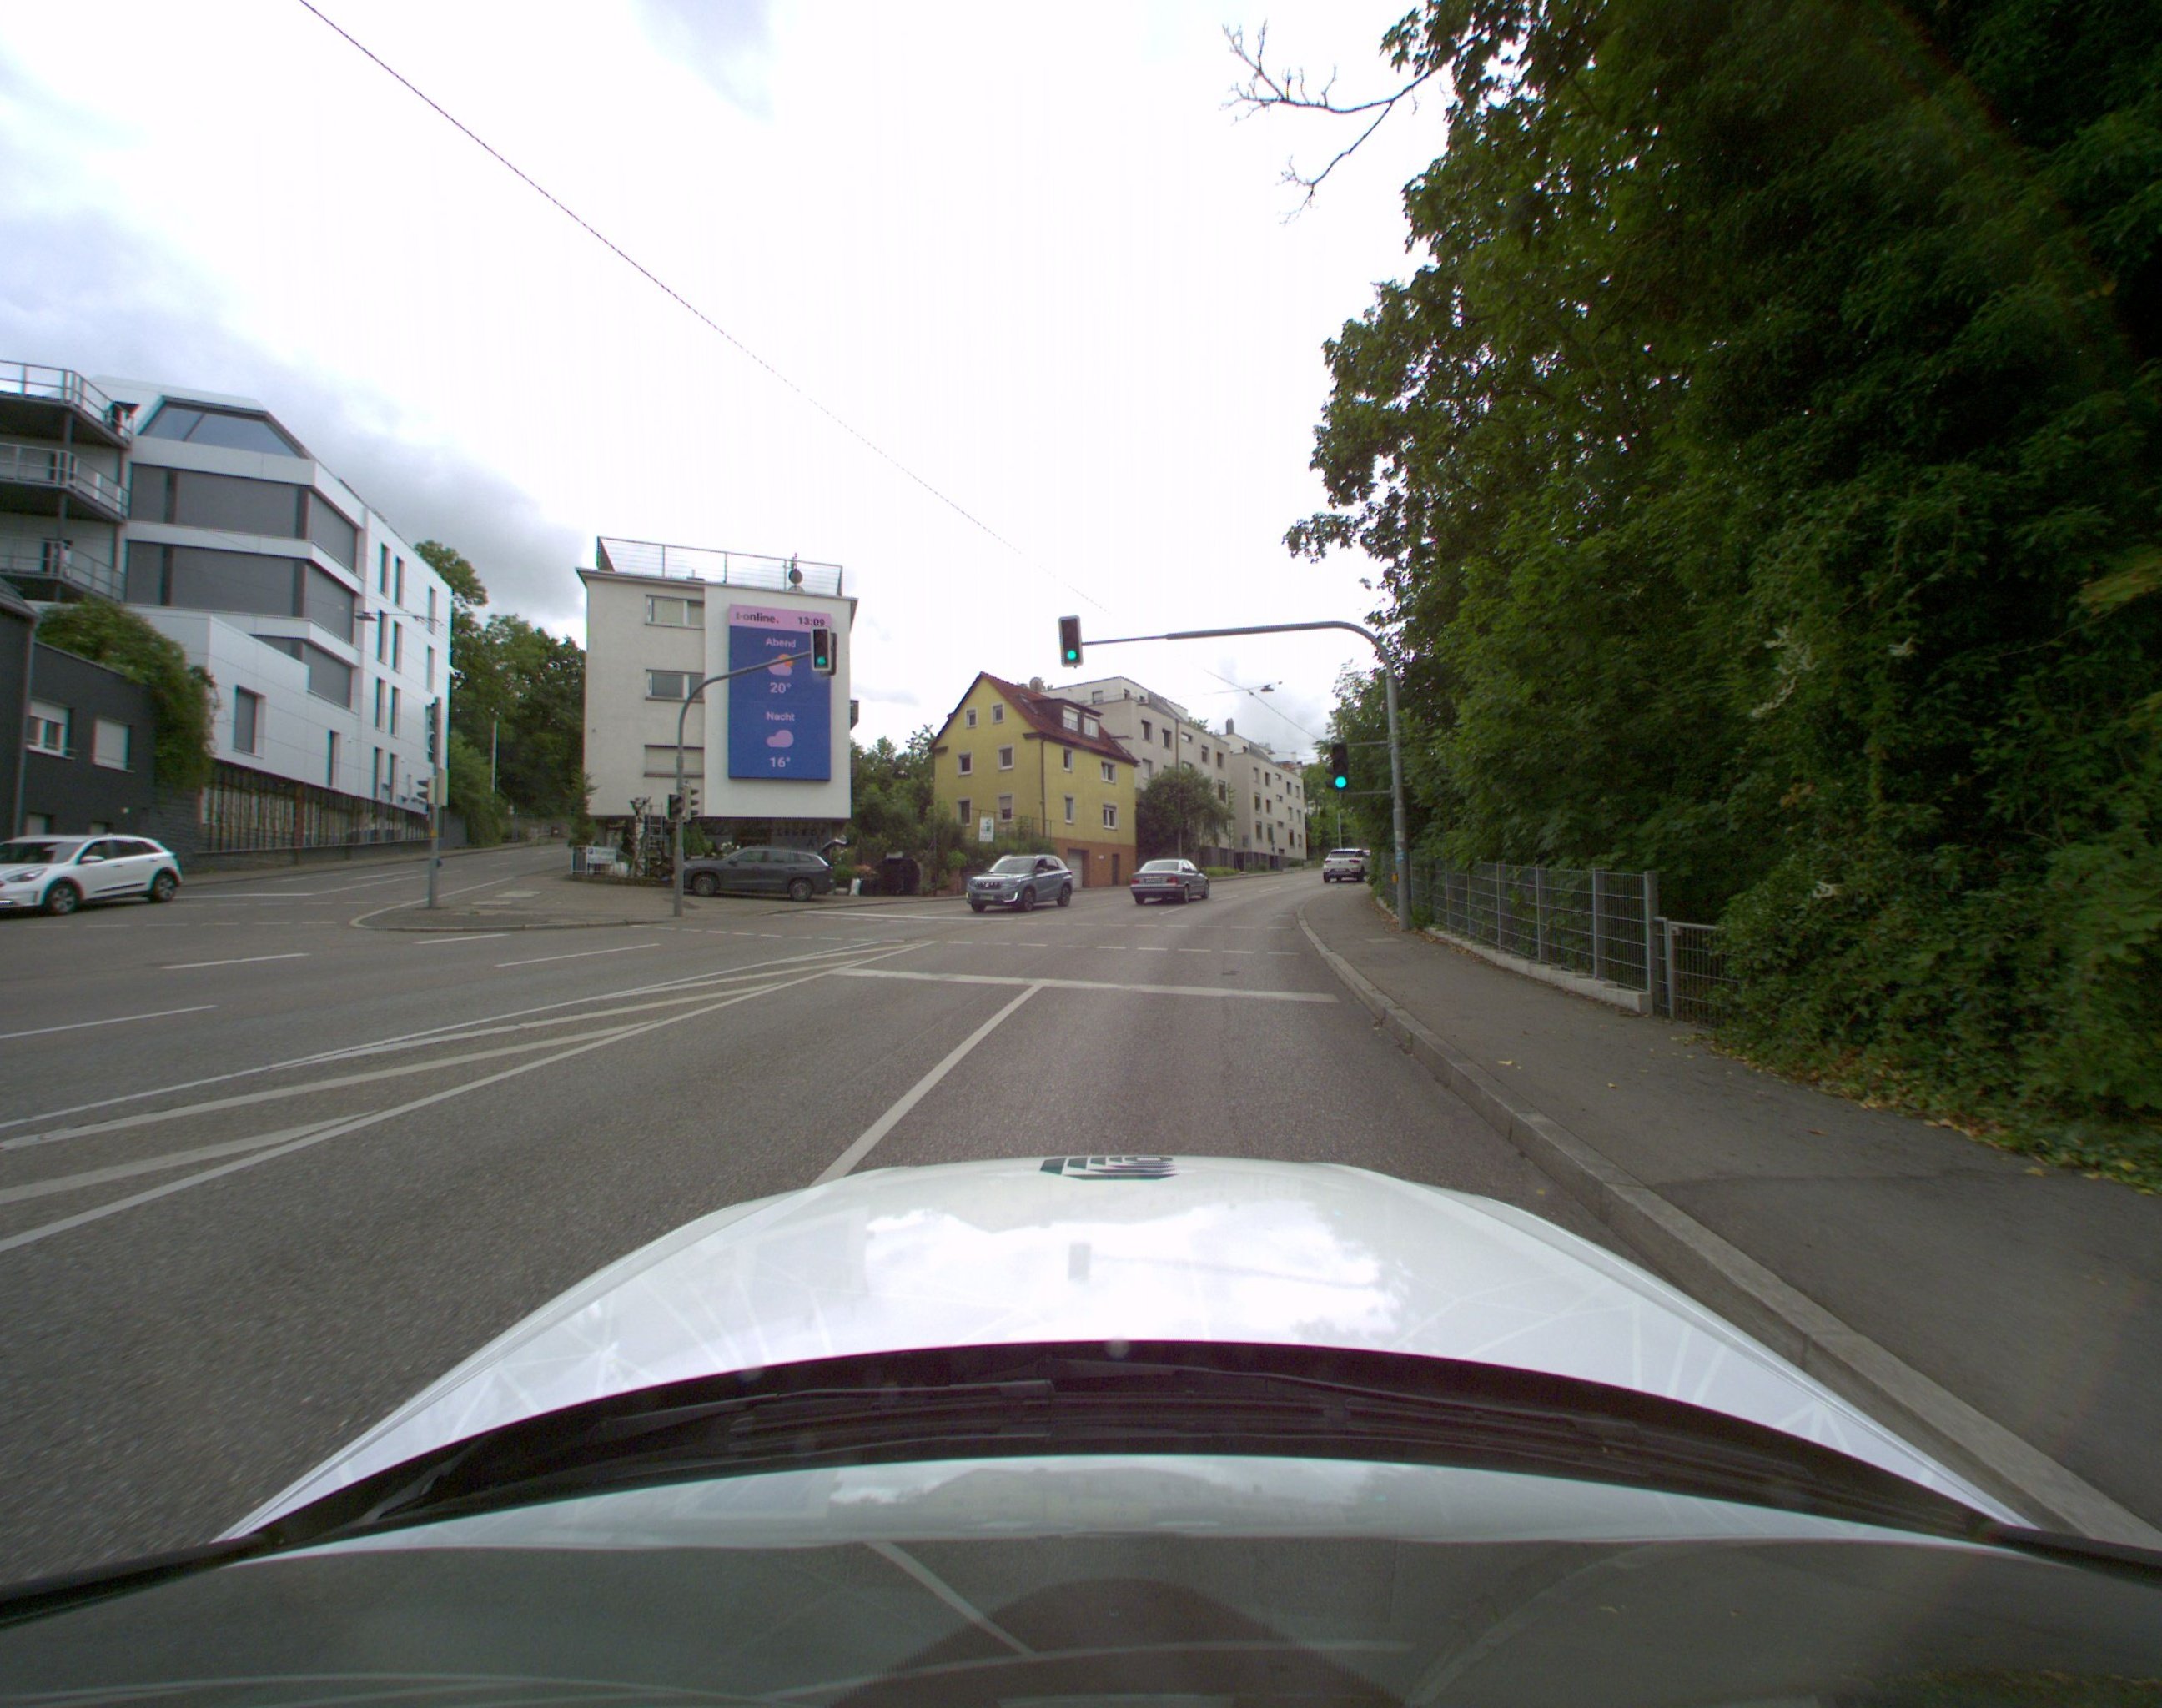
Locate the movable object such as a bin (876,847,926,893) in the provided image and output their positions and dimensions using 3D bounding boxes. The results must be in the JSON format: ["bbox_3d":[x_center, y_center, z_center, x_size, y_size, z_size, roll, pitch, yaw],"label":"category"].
[{"bbox_3d":[-7.201,0.636,32.720,1.761,1.779,1.850,0,-1,-7],"label":"movable object such as a bin"}]

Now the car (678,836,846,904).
[{"bbox_3d":[-10.133,0.503,26.175,4.704,1.712,2.303,4,1,-20],"label":"car"}]

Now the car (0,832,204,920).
[{"bbox_3d":[-20.920,0.358,16.863,1.889,1.567,4.361,0,2,-20],"label":"car"}]

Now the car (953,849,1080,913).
[{"bbox_3d":[-1.772,0.759,24.028,1.879,1.695,4.371,-1,-1,23],"label":"car"}]

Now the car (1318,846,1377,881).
[{"bbox_3d":[12.784,0.426,38.865,1.763,1.579,4.025,-1,-1,32],"label":"car"}]

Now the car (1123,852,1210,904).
[{"bbox_3d":[2.835,0.727,26.149,1.691,1.464,4.021,-3,-1,22],"label":"car"}]
